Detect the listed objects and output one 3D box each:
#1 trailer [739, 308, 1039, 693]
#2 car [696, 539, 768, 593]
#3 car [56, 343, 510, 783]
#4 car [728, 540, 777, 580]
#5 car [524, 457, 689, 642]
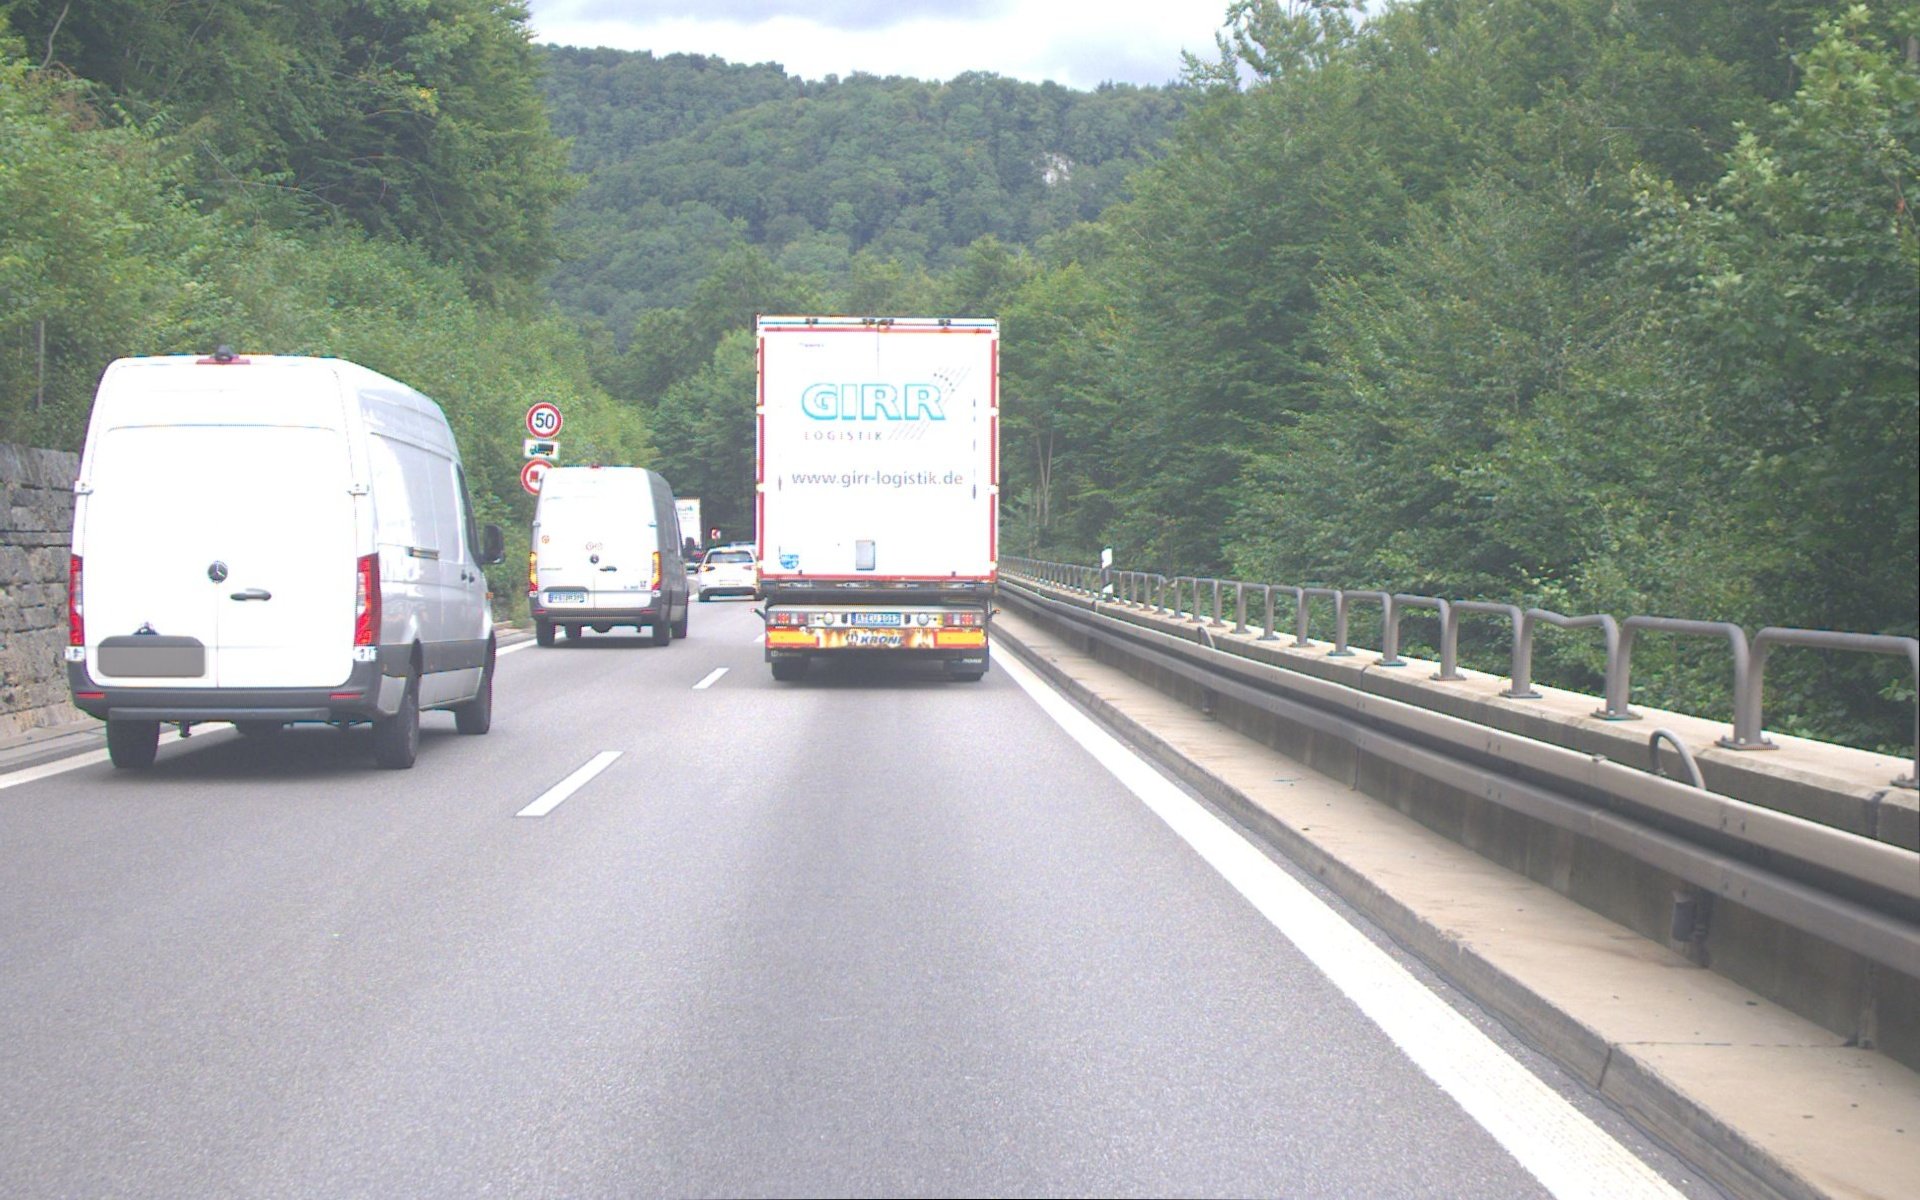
[{"bbox_3d":[-0.865,-1.282,42.008,3.057,3.972,12.138,1,2,-1],"label":"trailer"},{"bbox_3d":[-6.250,-0.954,94.593,1.732,1.416,4.000,1,1,-1],"label":"car"},{"bbox_3d":[-4.577,-0.291,24.399,1.989,2.663,6.937,0,1,-1],"label":"car"},{"bbox_3d":[-7.744,-1.512,128.570,1.732,1.416,4.001,1,1,-3],"label":"car"},{"bbox_3d":[-5.342,-0.790,52.639,1.939,2.663,5.992,0,1,-1],"label":"car"}]
